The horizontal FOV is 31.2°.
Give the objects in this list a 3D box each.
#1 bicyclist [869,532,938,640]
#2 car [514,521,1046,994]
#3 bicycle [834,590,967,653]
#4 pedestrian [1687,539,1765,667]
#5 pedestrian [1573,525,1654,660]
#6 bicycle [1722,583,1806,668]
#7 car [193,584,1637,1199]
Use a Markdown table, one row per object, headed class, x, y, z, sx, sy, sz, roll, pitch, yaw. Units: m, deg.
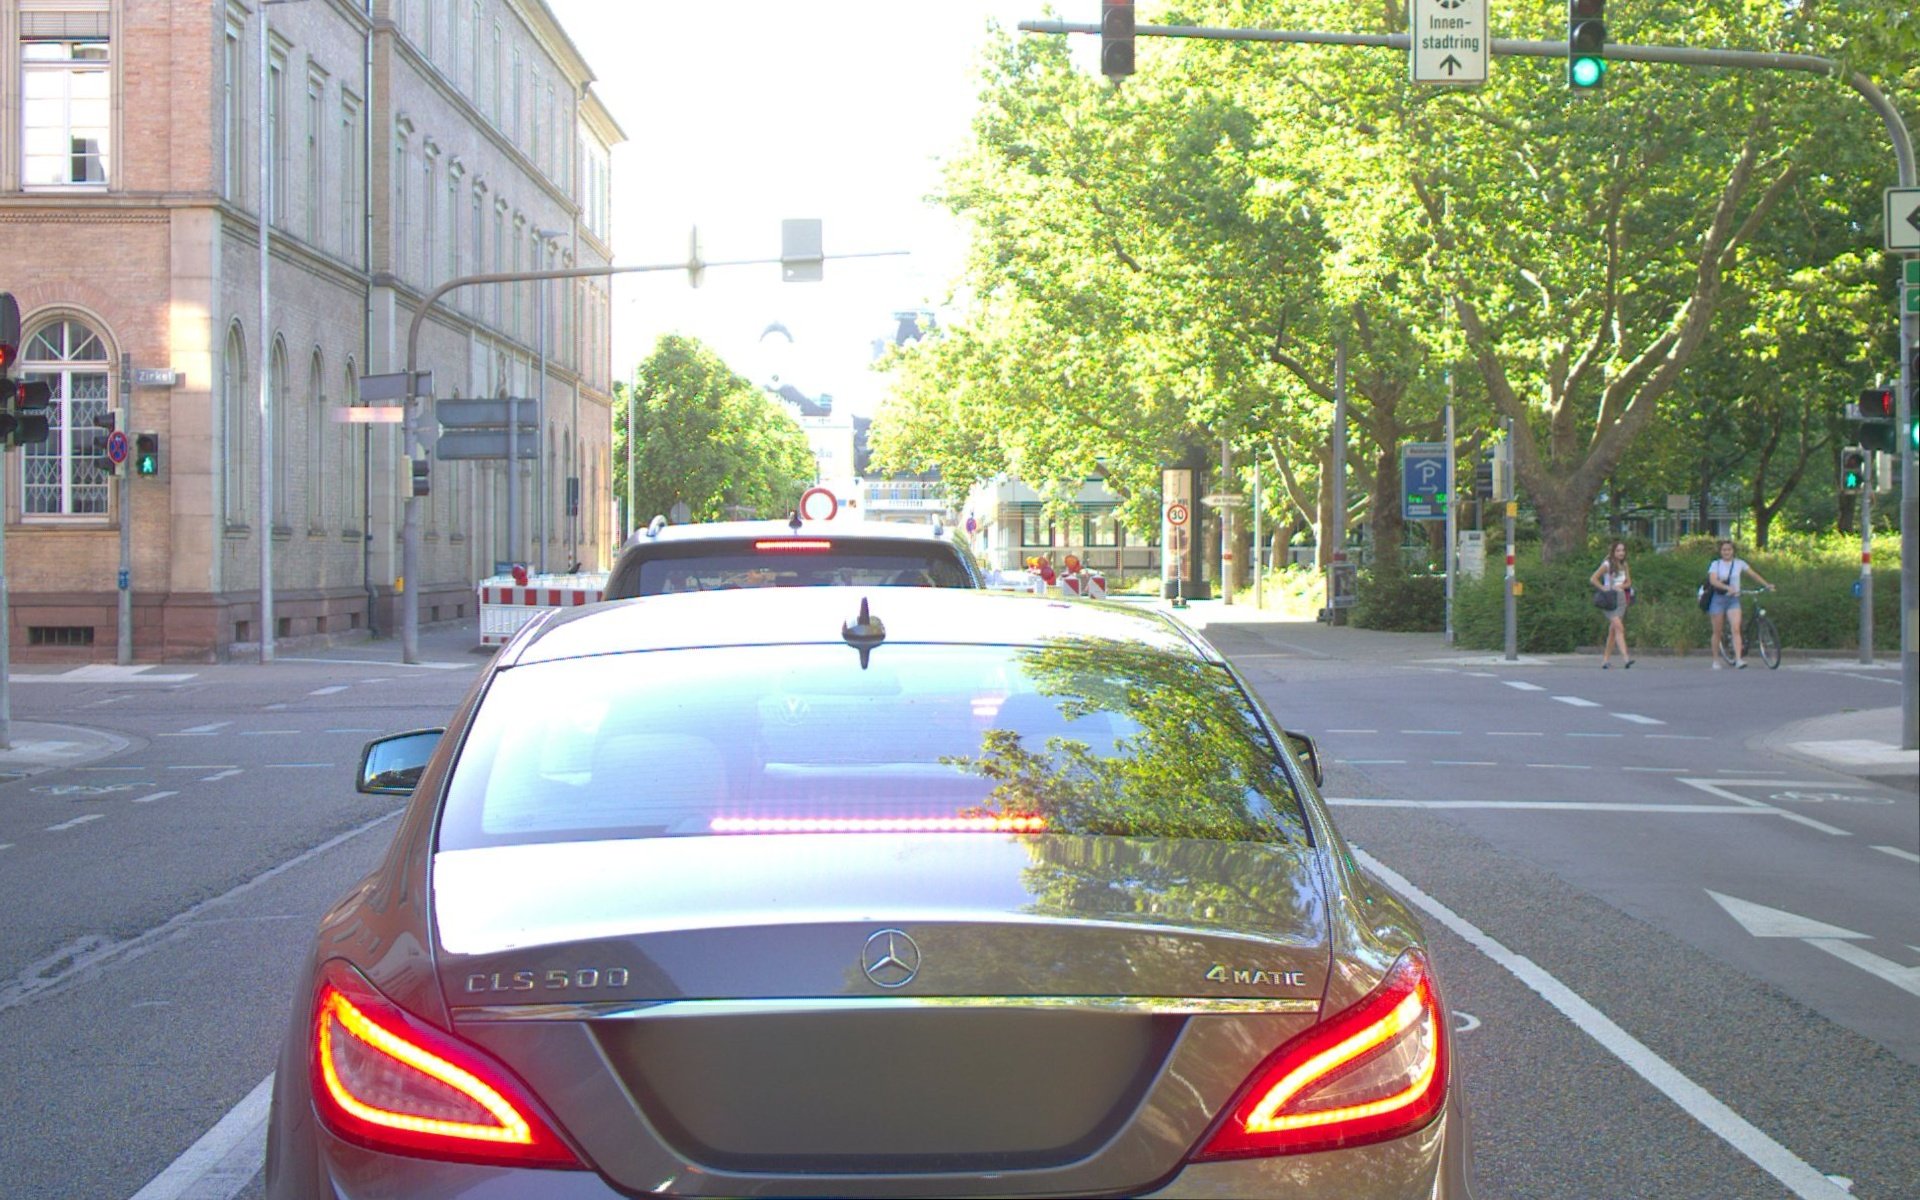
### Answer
| class | x | y | z | sx | sy | sz | roll | pitch | yaw |
| --- | --- | --- | --- | --- | --- | --- | --- | --- | --- |
| bicyclist | -0.830 | -0.202 | 50.138 | 0.804 | 1.553 | 0.650 | 1 | 0 | -22 |
| car | -0.579 | 0.519 | 13.730 | 1.809 | 1.607 | 4.000 | 0 | 1 | 1 |
| bicycle | -0.865 | 0.312 | 50.110 | 1.861 | 0.888 | 0.550 | 1 | 0 | -22 |
| pedestrian | 10.319 | 0.036 | 46.335 | 0.683 | 1.691 | 0.971 | 1 | 0 | -10 |
| pedestrian | 8.796 | -0.095 | 46.276 | 0.732 | 1.802 | 0.909 | 0 | -1 | -15 |
| bicycle | 10.776 | 0.331 | 46.138 | 0.524 | 1.096 | 1.742 | 1 | 1 | -7 |
| car | -0.270 | 0.709 | 6.643 | 1.842 | 1.424 | 4.518 | 1 | 1 | -6 |
